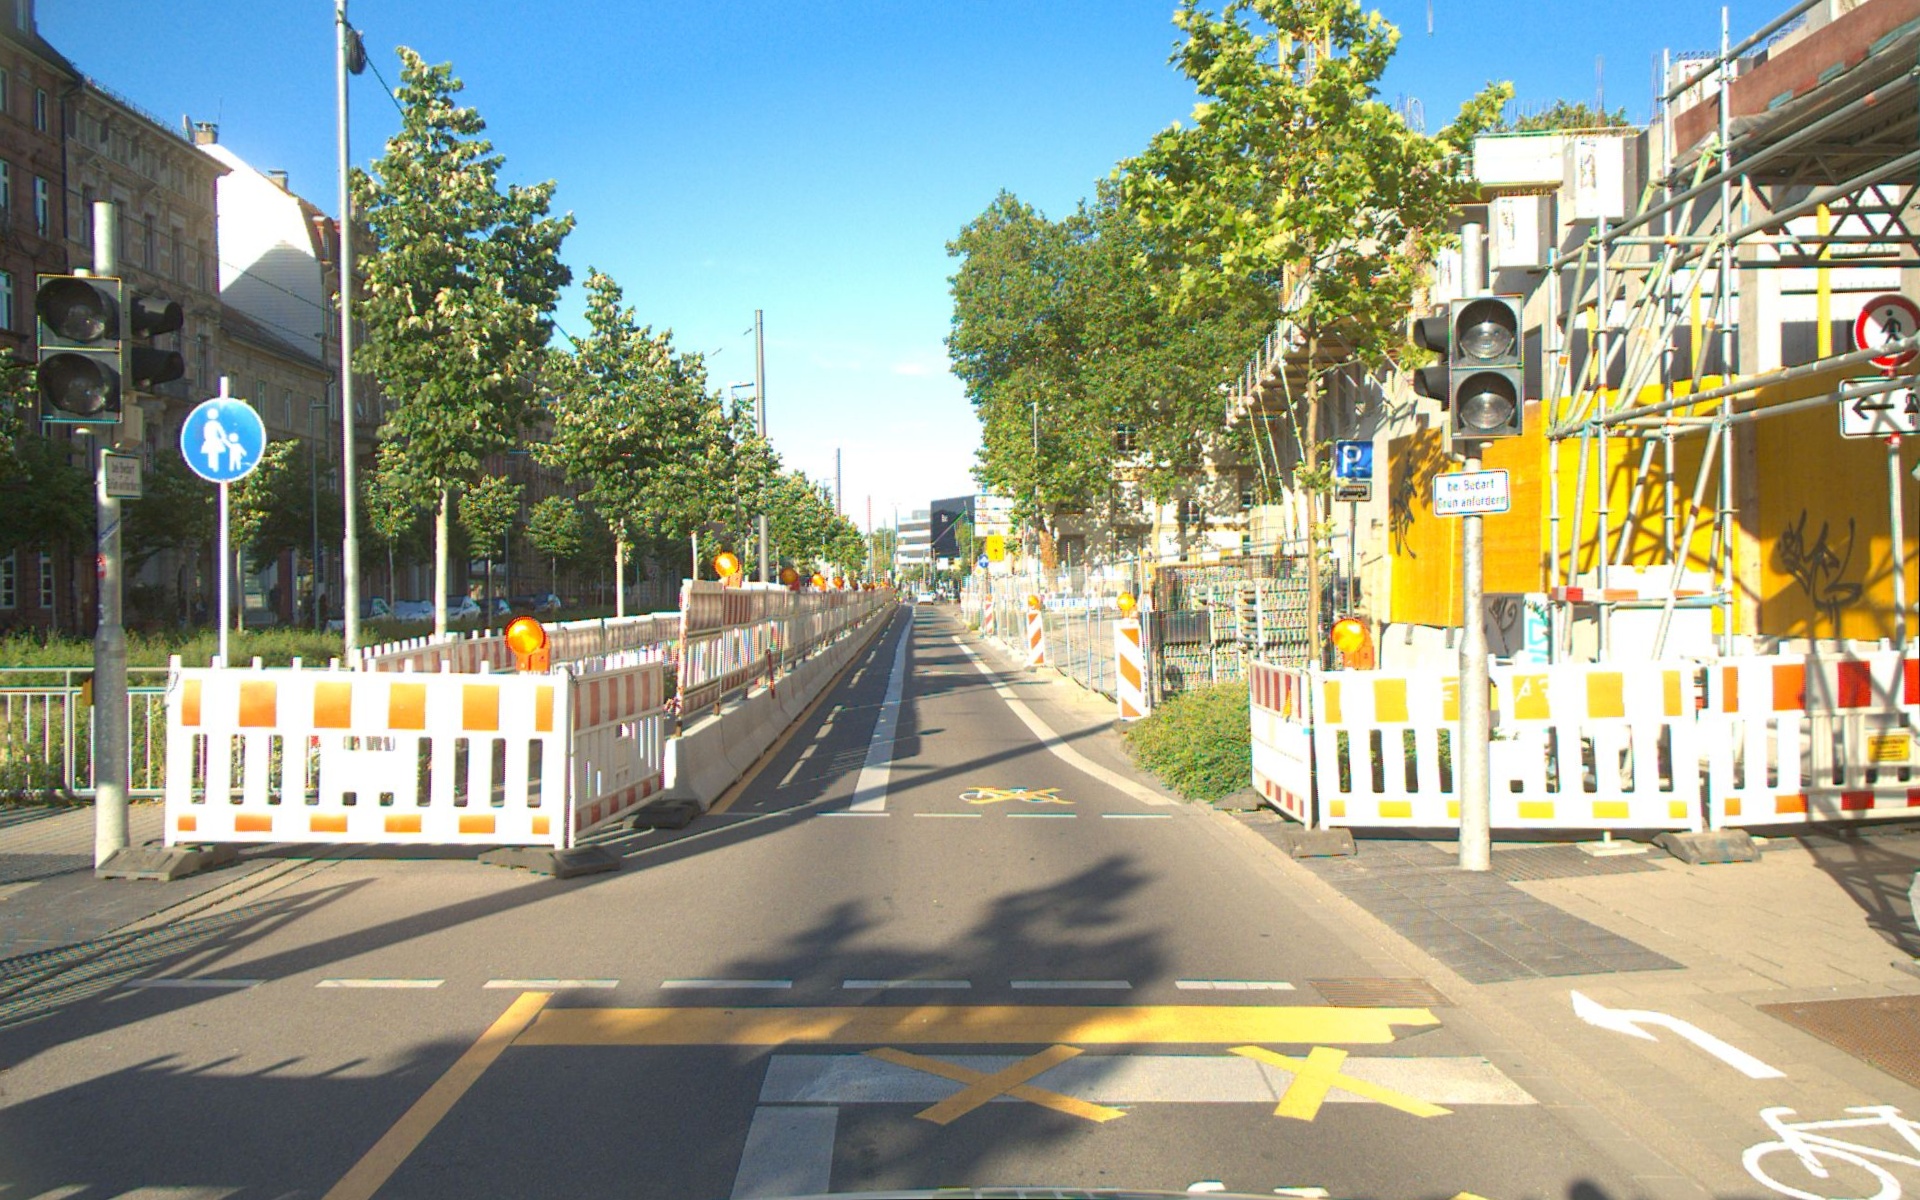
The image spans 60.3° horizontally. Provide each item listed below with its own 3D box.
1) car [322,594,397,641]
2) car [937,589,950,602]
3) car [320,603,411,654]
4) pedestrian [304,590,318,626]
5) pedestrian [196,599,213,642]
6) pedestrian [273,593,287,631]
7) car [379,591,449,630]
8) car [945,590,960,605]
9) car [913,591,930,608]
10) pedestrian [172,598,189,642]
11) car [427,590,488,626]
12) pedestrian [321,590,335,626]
[{"bbox_3d":[-23.255,0.644,64.171,1.535,1.704,3.808,-1,1,-1],"label":"car"},{"bbox_3d":[-2.543,-0.724,256.927,1.845,1.875,3.667,-1,1,-1],"label":"car"},{"bbox_3d":[-18.869,0.875,52.620,1.562,1.509,3.623,-1,0,0],"label":"car"},{"bbox_3d":[-28.511,0.344,72.682,0.397,1.561,0.435,1,0,-1],"label":"pedestrian"},{"bbox_3d":[-28.069,0.759,61.430,0.420,1.612,0.339,1,0,0],"label":"pedestrian"},{"bbox_3d":[-29.171,0.500,70.967,0.452,1.612,0.434,1,0,-8],"label":"pedestrian"},{"bbox_3d":[-23.572,0.425,71.533,1.535,1.590,4.713,-1,1,-1],"label":"car"},{"bbox_3d":[-0.960,-0.389,215.846,1.845,1.875,3.667,-1,1,-1],"label":"car"},{"bbox_3d":[-4.453,-0.081,191.825,1.845,1.875,3.667,-1,1,-1],"label":"car"},{"bbox_3d":[-28.859,0.750,61.265,0.425,1.612,0.385,1,0,-4],"label":"pedestrian"},{"bbox_3d":[-23.615,0.335,77.904,1.535,1.590,4.713,-1,1,-2],"label":"car"},{"bbox_3d":[-27.711,0.344,72.528,0.397,1.559,0.435,1,0,-1],"label":"pedestrian"}]
